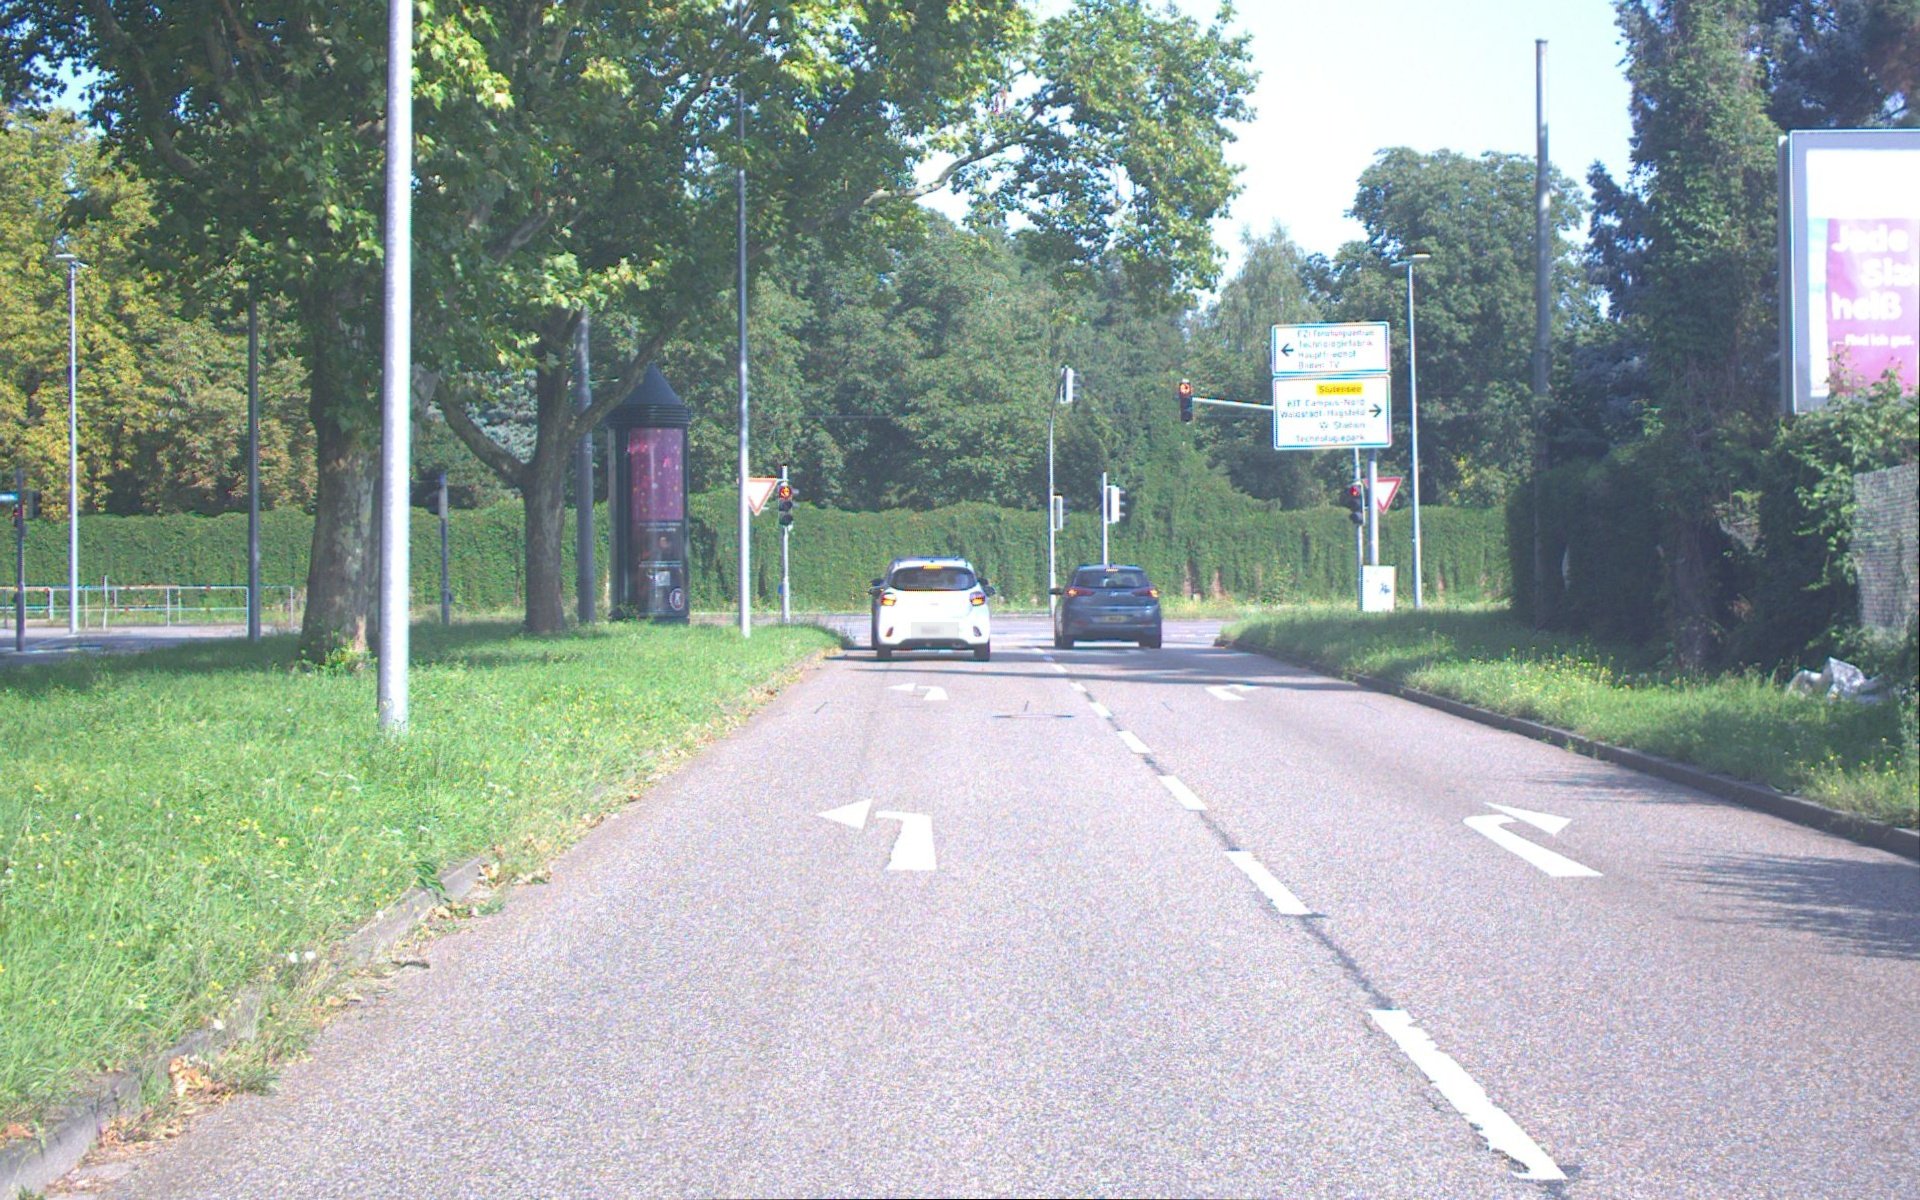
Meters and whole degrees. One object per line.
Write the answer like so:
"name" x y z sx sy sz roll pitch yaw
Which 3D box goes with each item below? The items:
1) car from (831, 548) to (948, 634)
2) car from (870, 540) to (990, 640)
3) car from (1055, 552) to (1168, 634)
"car" -1.205 -0.163 60.282 1.687 1.457 3.849 0 0 4
"car" -0.412 -0.157 51.744 1.687 1.457 4.000 0 0 1
"car" 2.629 -0.128 60.445 1.797 1.396 4.000 0 0 0
